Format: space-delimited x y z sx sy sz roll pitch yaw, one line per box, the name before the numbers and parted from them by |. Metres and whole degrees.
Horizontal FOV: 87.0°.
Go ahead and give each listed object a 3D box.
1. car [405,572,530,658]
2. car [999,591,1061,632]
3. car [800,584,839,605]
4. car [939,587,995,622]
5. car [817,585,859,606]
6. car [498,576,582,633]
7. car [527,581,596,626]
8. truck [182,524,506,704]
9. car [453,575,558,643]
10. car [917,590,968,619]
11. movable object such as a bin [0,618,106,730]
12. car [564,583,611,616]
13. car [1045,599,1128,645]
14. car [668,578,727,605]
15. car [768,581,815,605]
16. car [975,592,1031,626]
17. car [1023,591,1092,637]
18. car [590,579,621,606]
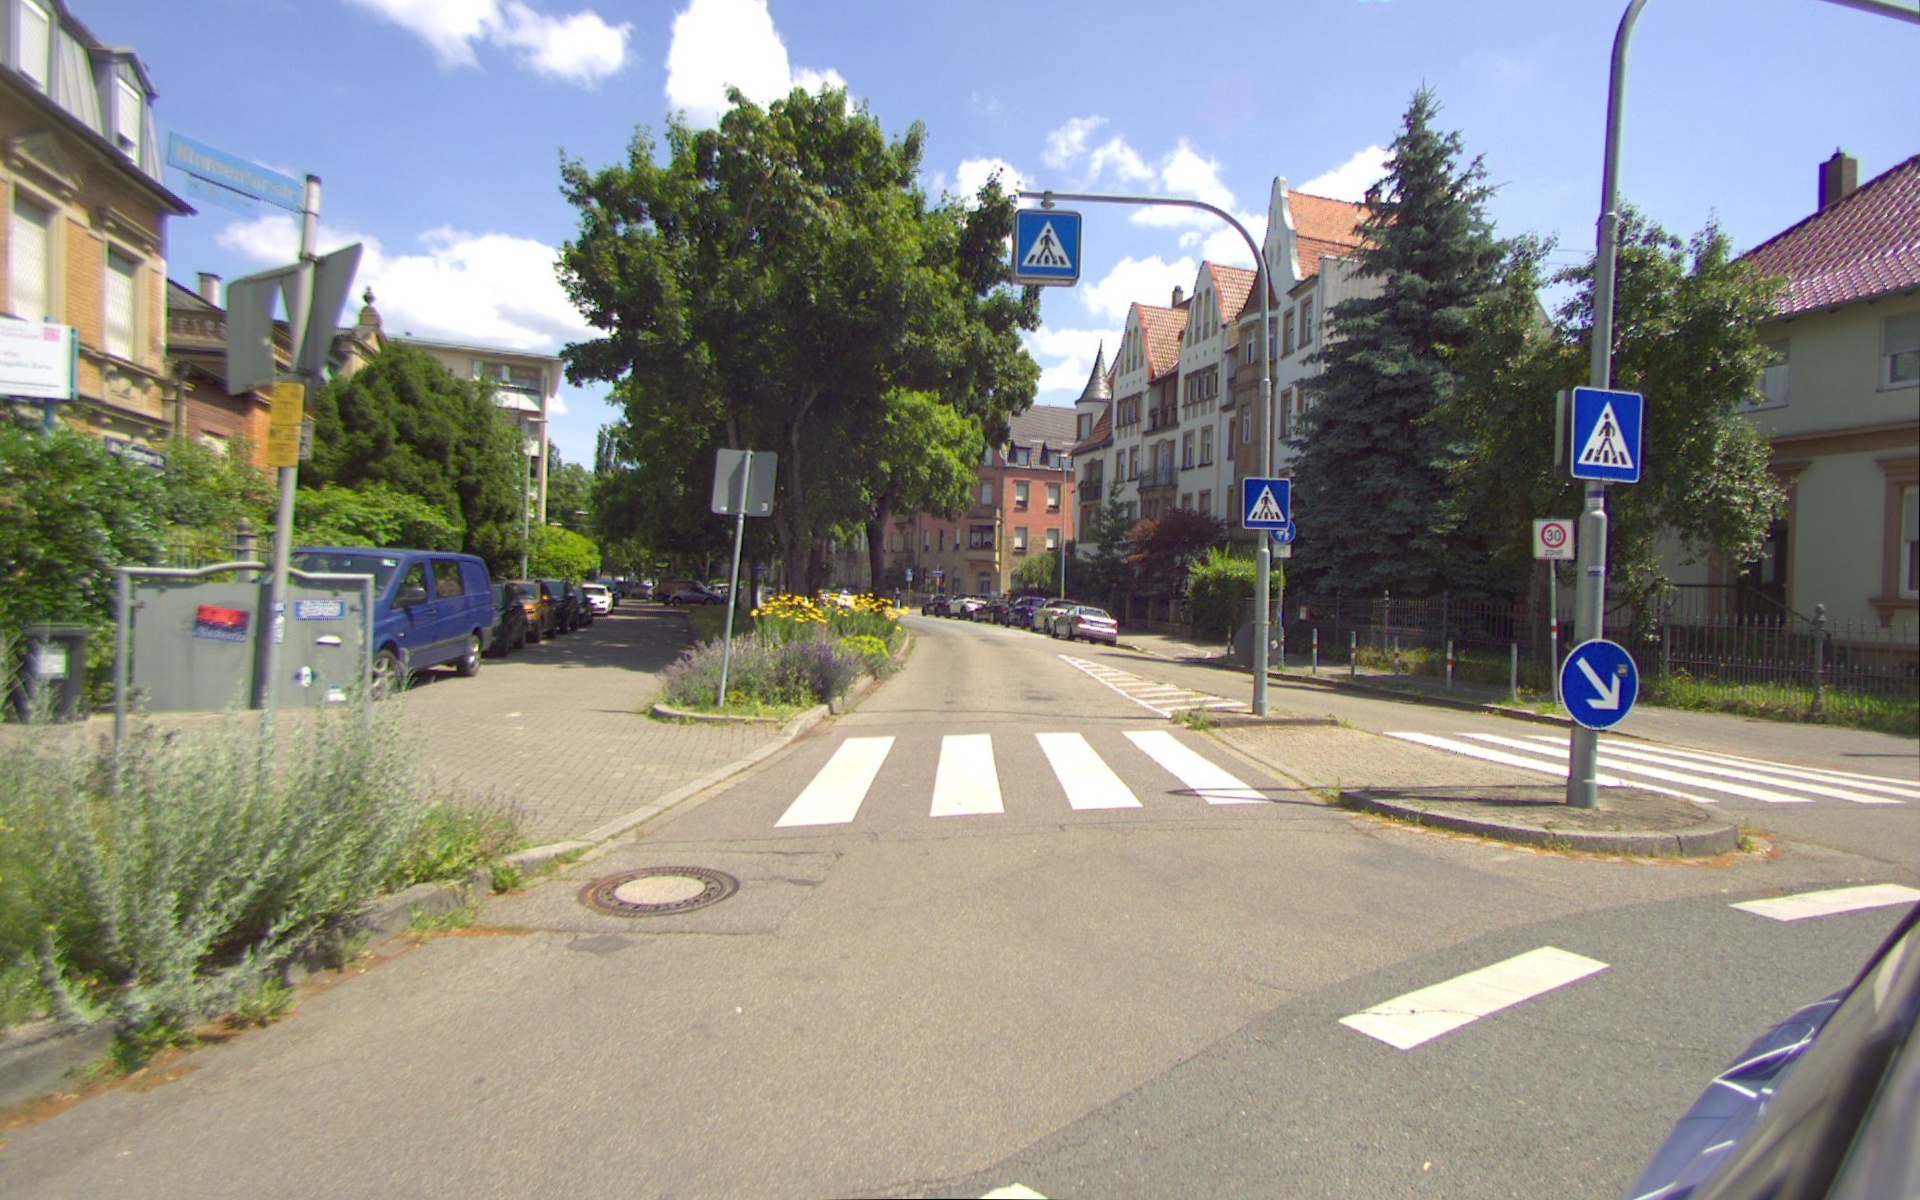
car | -9.999 0.263 20.822 1.678 1.545 3.862 2 0 -17
car | 3.160 0.507 46.379 1.738 1.534 4.008 7 0 -11
car | -11.938 -0.466 85.537 1.959 1.638 4.192 1 1 -27
car | 0.348 0.218 57.268 1.737 1.634 3.885 7 0 -20
car | -9.841 -0.377 81.412 1.959 1.638 4.192 1 1 -27
car | -12.686 0.095 30.776 1.801 1.577 4.009 1 1 -15
car | -14.083 0.077 35.993 1.801 1.475 4.009 1 1 -15
truck | -8.170 0.144 14.154 1.877 1.950 5.289 3 0 -8
car | -11.447 0.179 25.743 1.801 1.577 4.009 1 1 -15
car | -1.097 0.244 61.559 1.737 1.408 3.885 7 0 -21
movable object such as a bin | -8.619 0.675 9.572 0.611 0.973 0.629 2 1 24
car | -17.615 -0.045 47.950 1.801 1.456 4.009 1 0 -16
car | 4.455 0.736 36.233 1.782 1.343 4.006 7 -1 -8
car | -20.046 -0.659 77.298 3.927 1.883 1.923 1 1 3
car | -12.412 -0.516 74.435 1.960 1.638 4.190 1 1 -31
car | 2.170 0.452 51.826 1.738 1.405 4.008 7 0 -12
car | 3.933 0.533 41.379 1.739 1.534 4.006 7 0 -8
car | -24.114 -0.495 68.936 1.801 1.756 4.009 1 0 -16
